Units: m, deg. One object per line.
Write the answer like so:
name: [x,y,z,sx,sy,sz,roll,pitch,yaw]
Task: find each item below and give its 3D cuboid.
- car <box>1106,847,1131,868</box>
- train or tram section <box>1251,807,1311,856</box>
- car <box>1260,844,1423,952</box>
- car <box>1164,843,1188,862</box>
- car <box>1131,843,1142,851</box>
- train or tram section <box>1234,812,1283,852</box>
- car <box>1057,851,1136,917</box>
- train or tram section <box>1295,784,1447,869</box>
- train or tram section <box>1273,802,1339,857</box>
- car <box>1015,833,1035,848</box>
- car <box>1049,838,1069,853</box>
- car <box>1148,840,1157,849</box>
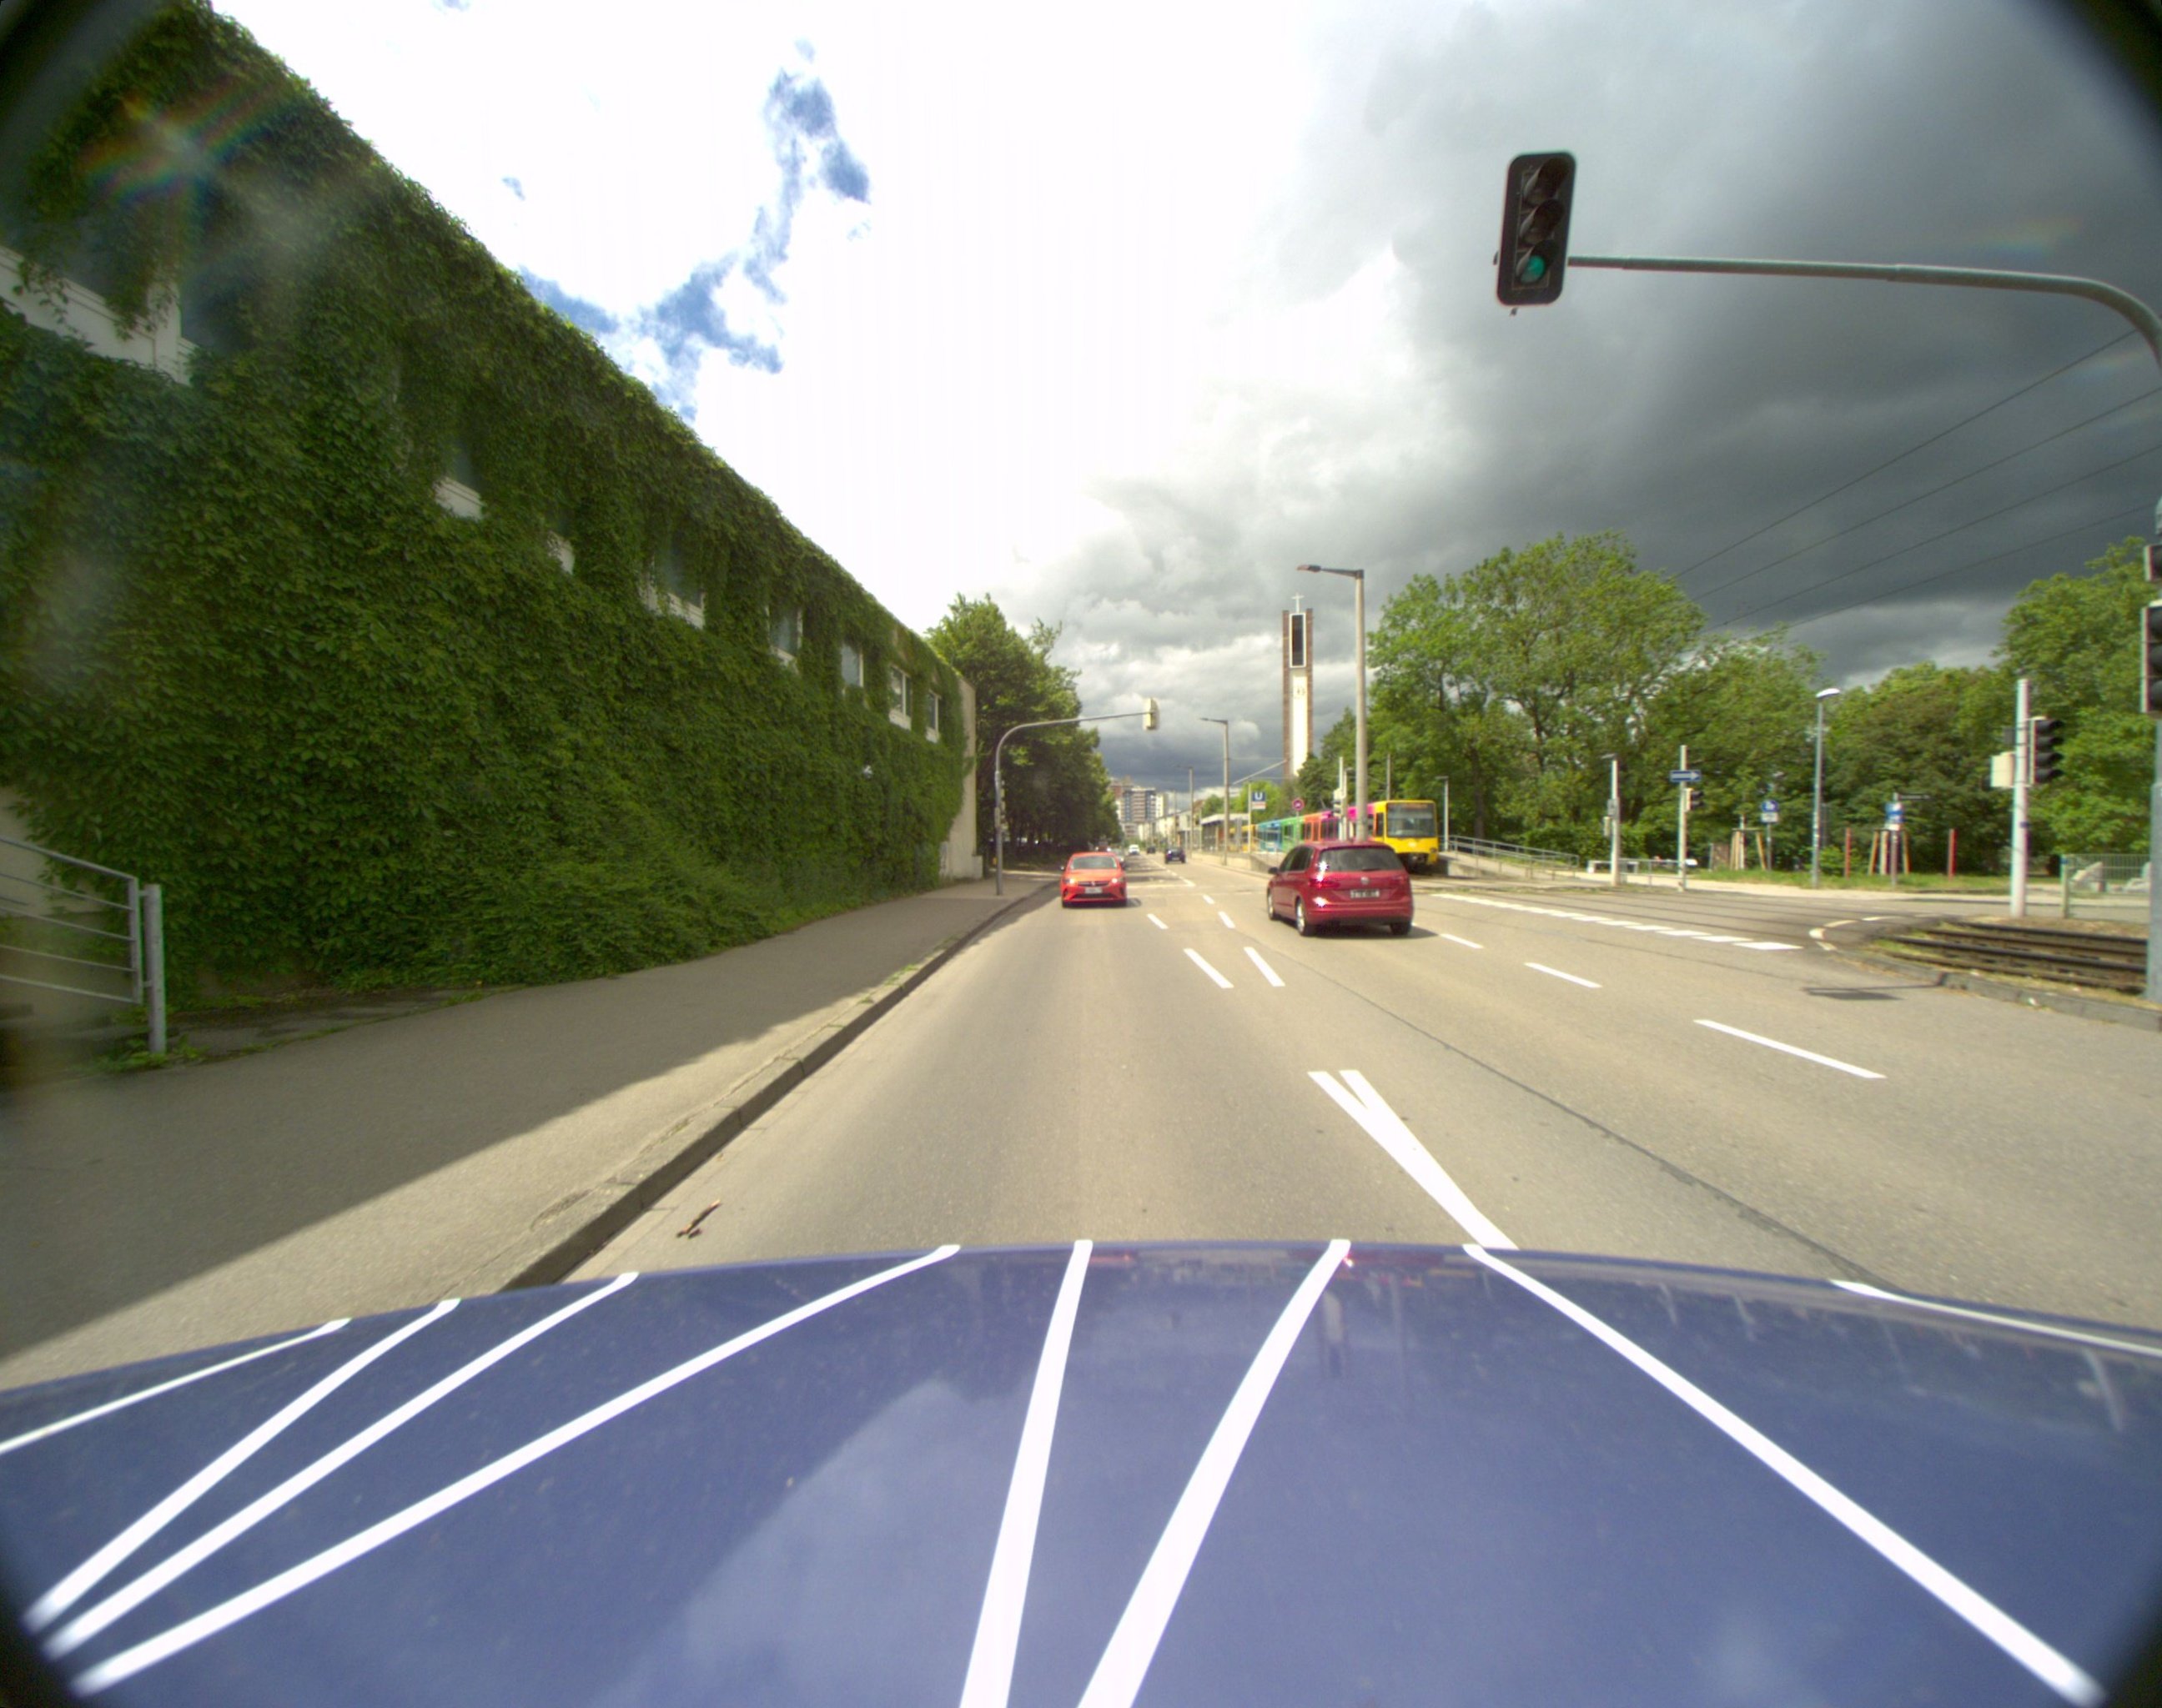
car: [2.946,0.273,58.767,1.755,1.433,4.227,-1,2,6]
train or tram section: [17.687,-1.994,68.042,2.987,3.841,11.786,-2,1,4]
car: [4.407,0.642,13.487,1.667,1.543,4.000,-2,1,3]
car: [8.163,-0.159,65.654,1.721,1.433,4.009,-1,2,3]
car: [9.949,-1.234,136.240,1.820,1.433,4.008,-1,2,2]
train or tram section: [18.469,-2.291,79.985,2.987,3.841,12.201,-2,1,4]
car: [0.510,0.712,20.225,1.755,1.433,4.227,-1,2,6]
train or tram section: [16.048,-1.499,44.540,2.987,3.841,18.538,-2,1,4]
train or tram section: [16.964,-1.834,57.991,2.987,3.841,8.378,-2,1,4]
car: [-5.936,-1.428,80.850,1.756,1.533,4.225,-1,2,0]
car: [-2.479,-0.995,87.350,1.655,1.533,3.678,-1,2,9]
car: [13.780,-1.882,146.777,1.755,1.603,4.227,-1,2,6]
